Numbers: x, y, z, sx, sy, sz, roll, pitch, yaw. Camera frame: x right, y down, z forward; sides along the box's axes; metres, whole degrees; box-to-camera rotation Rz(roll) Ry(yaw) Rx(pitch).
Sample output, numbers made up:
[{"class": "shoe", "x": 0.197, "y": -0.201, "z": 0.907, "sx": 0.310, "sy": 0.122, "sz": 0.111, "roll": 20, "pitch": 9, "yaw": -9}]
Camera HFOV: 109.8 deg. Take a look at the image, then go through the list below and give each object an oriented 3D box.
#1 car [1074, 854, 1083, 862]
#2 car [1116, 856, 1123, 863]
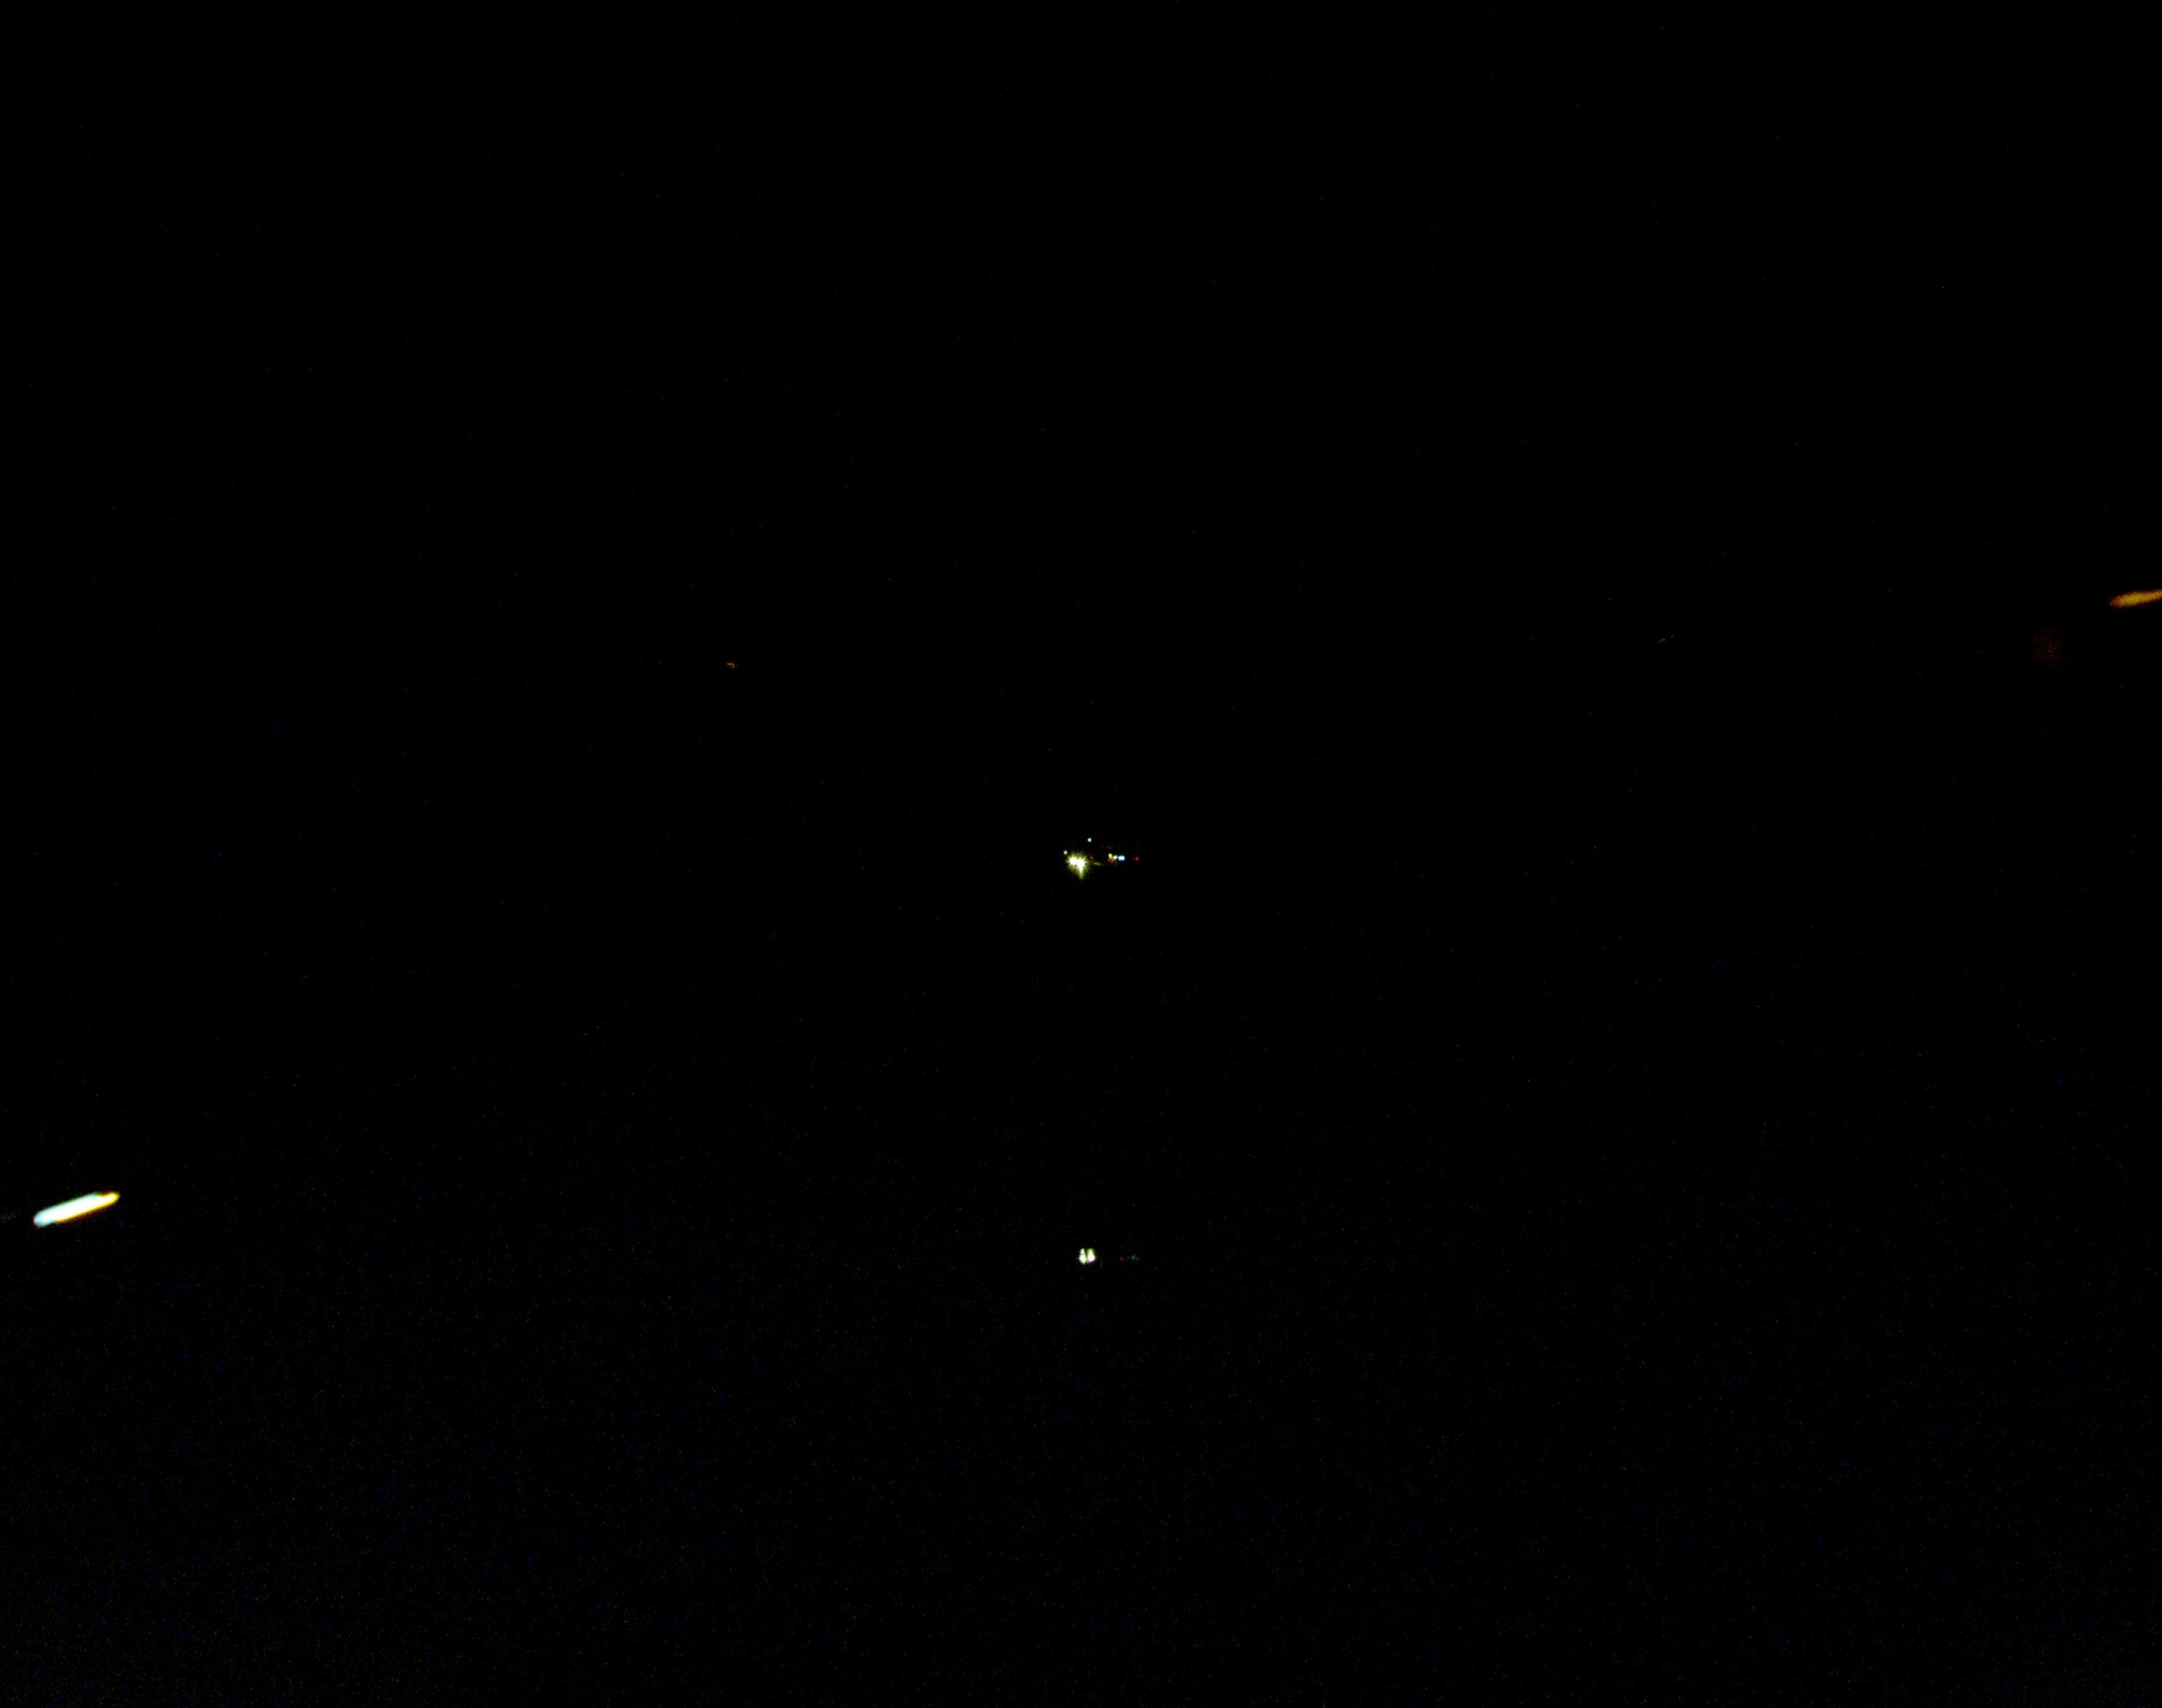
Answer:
[{"class": "car", "x": -0.449, "y": 0.797, "z": 147.022, "sx": 1.570, "sy": 1.336, "sz": 4.166, "roll": -2, "pitch": 0, "yaw": 0}, {"class": "car", "x": 9.434, "y": 1.365, "z": 186.720, "sx": 1.621, "sy": 1.498, "sz": 3.868, "roll": -2, "pitch": 0, "yaw": 0}]
